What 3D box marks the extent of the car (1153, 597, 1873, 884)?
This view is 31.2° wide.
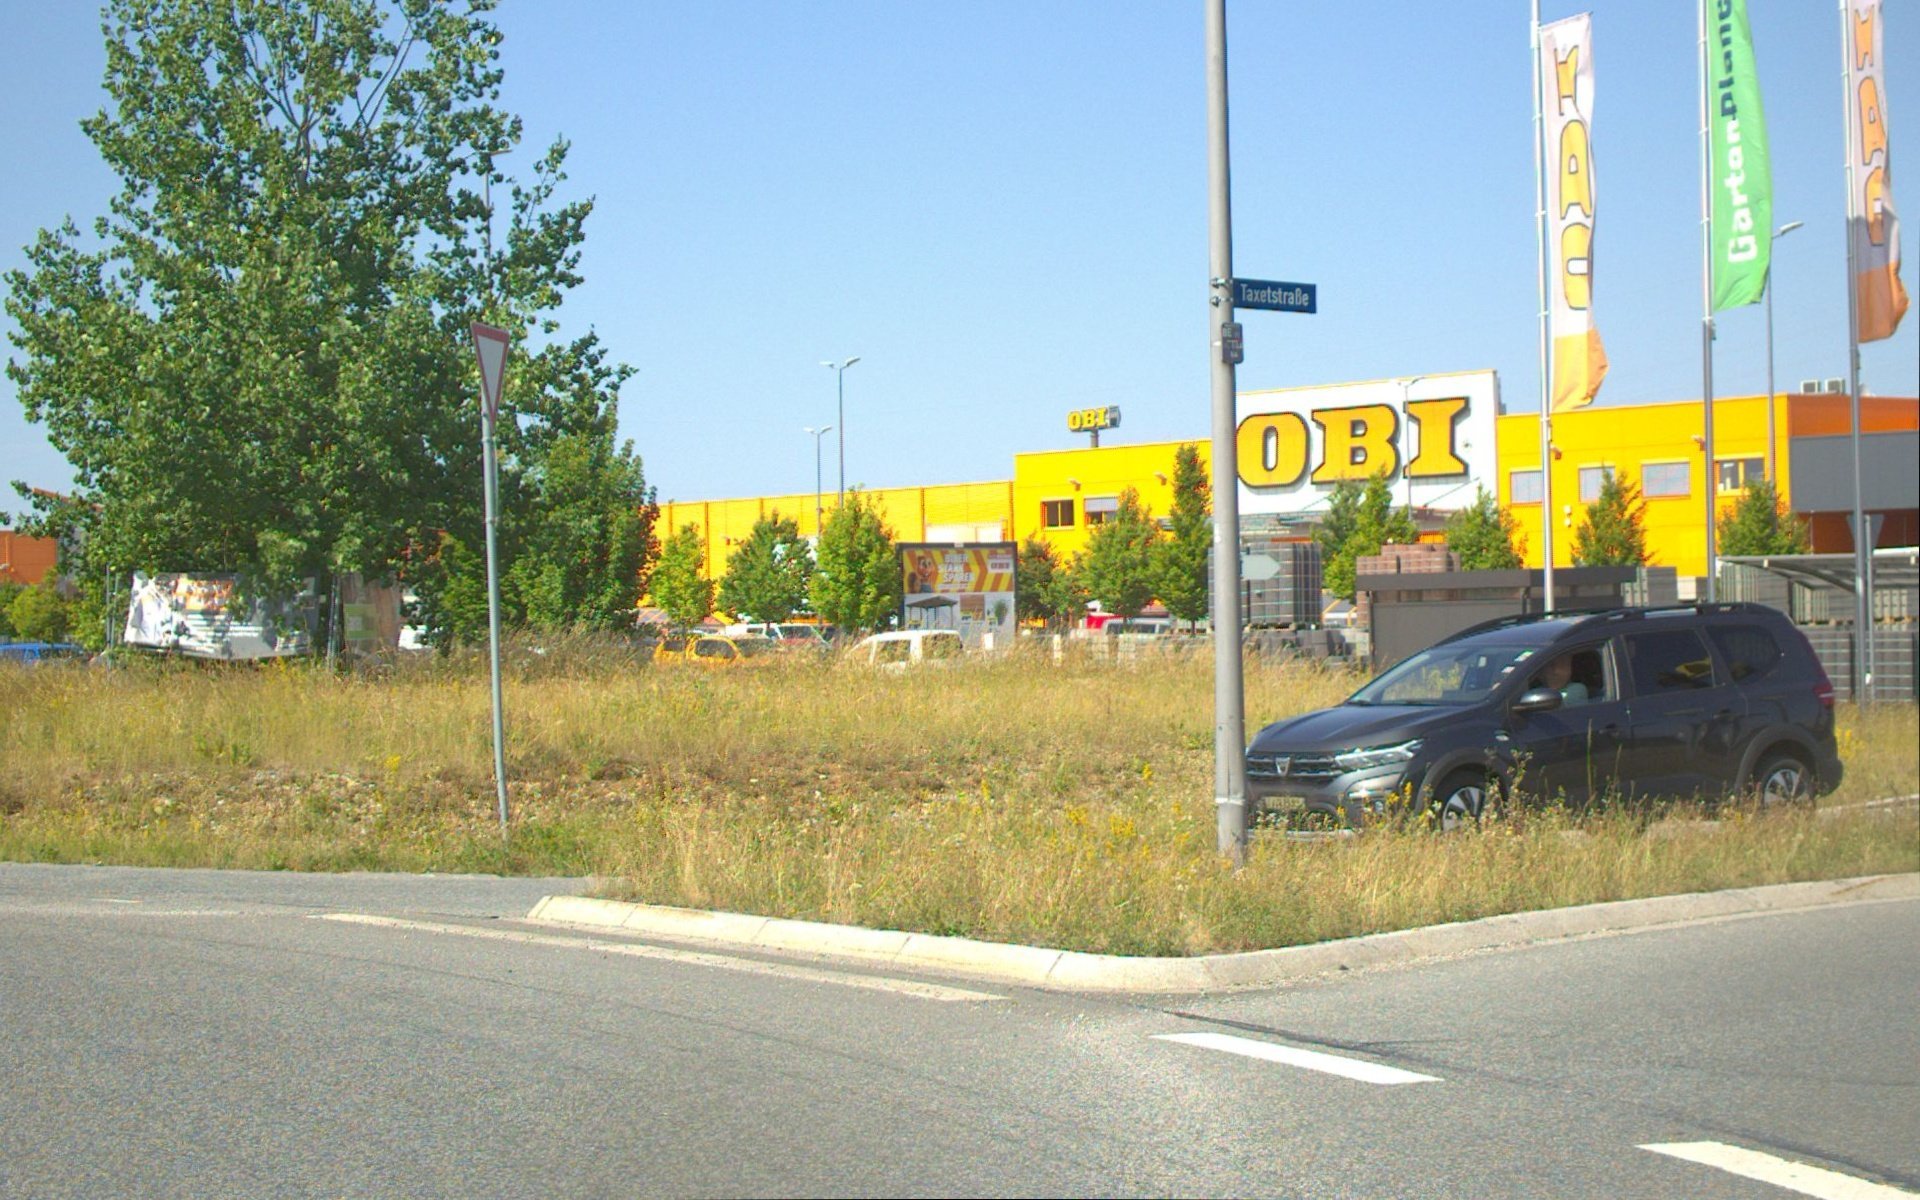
[{"bbox_3d":[3.757,0.889,23.074,4.612,1.700,1.957,-1,-2,-33],"label":"car"}]

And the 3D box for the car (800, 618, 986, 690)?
[{"bbox_3d":[-1.584,1.265,80.402,3.996,1.612,1.995,-1,0,40],"label":"car"}]
